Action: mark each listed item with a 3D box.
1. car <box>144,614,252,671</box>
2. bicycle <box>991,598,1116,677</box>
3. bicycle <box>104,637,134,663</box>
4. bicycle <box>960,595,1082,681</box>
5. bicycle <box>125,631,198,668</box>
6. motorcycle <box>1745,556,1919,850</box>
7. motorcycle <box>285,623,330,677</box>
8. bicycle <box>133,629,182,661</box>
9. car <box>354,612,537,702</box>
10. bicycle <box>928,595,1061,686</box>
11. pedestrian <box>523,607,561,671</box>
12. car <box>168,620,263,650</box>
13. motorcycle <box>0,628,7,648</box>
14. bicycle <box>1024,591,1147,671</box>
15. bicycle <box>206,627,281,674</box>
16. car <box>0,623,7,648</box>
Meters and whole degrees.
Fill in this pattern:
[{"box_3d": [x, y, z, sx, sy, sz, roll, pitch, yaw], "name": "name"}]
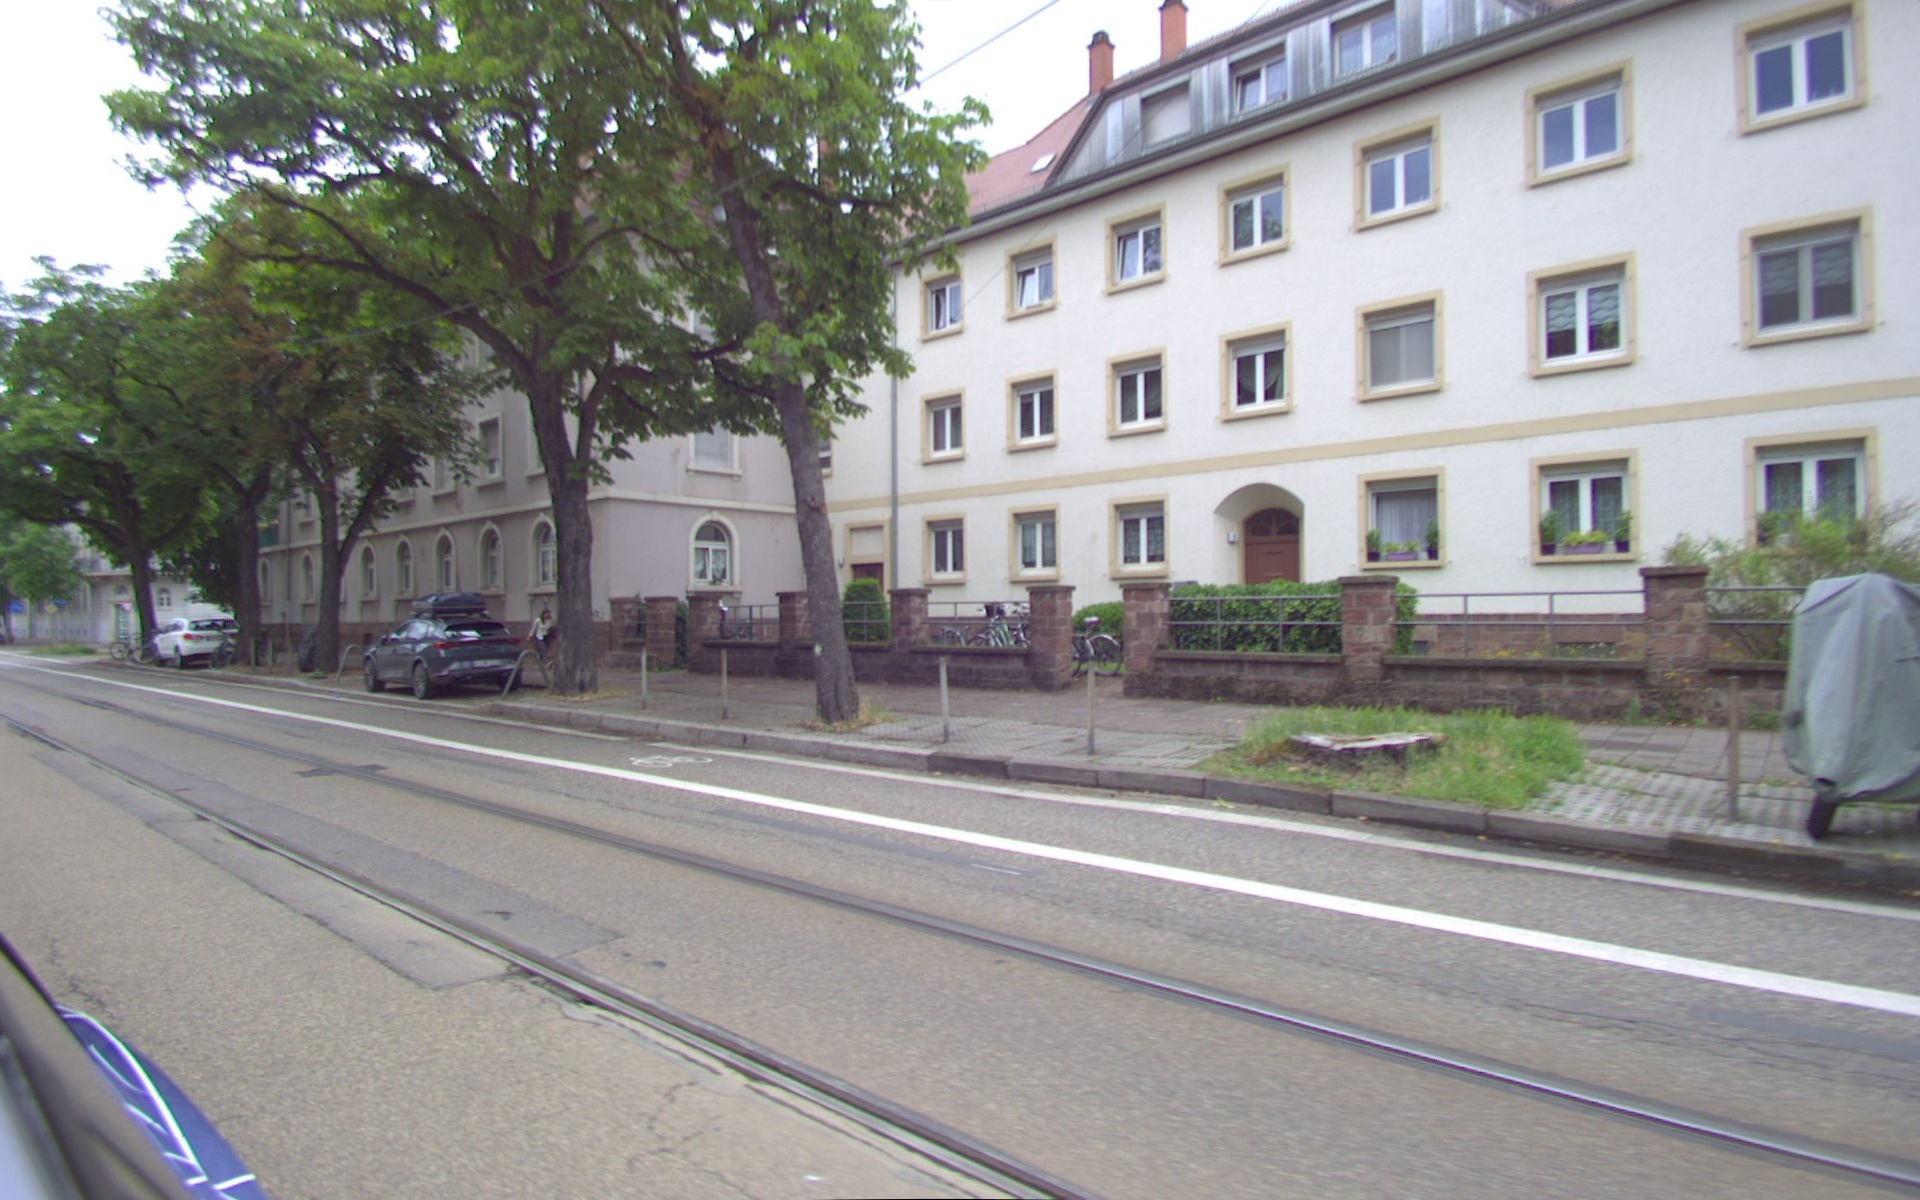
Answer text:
[{"box_3d": [-24.567, 1.347, 32.578, 4.222, 1.668, 1.878, -2, 0, 40], "name": "car"}, {"box_3d": [1.621, 0.638, 17.807, 2.139, 1.308, 0.740, -2, -1, 40], "name": "bicycle"}, {"box_3d": [-31.574, 1.873, 37.993, 1.393, 0.965, 0.479, -1, -1, 33], "name": "bicycle"}, {"box_3d": [1.009, 0.629, 17.238, 2.140, 1.392, 0.621, -2, -1, 41], "name": "bicycle"}, {"box_3d": [-27.851, 1.702, 35.328, 0.623, 1.129, 1.903, -2, 1, 40], "name": "bicycle"}, {"box_3d": [5.944, 0.511, 5.934, 2.234, 1.522, 0.929, -1, 1, -14], "name": "motorcycle"}, {"box_3d": [-16.990, 1.264, 26.321, 0.852, 1.298, 2.327, -1, 0, -36], "name": "motorcycle"}, {"box_3d": [-30.598, 1.731, 38.588, 1.925, 1.144, 0.671, -3, -2, 25], "name": "bicycle"}, {"box_3d": [-10.139, 1.047, 19.794, 4.236, 1.522, 1.758, -2, 0, 42], "name": "car"}, {"box_3d": [0.537, 0.637, 16.491, 2.140, 1.392, 0.784, -2, -1, 41], "name": "bicycle"}, {"box_3d": [-9.922, 0.920, 24.035, 0.722, 1.478, 0.559, -2, -1, 41], "name": "pedestrian"}, {"box_3d": [-45.942, 2.127, 62.569, 4.438, 1.675, 1.945, -1, -1, -24], "name": "car"}, {"box_3d": [-63.021, 2.510, 66.192, 2.137, 1.267, 0.535, -1, -1, 35], "name": "motorcycle"}, {"box_3d": [2.257, 0.553, 18.422, 2.140, 1.392, 0.784, -2, -1, 41], "name": "bicycle"}, {"box_3d": [-20.778, 1.458, 29.387, 1.720, 1.201, 0.654, -3, -4, -35], "name": "bicycle"}, {"box_3d": [-68.350, 2.539, 70.969, 4.292, 1.673, 1.818, -2, 2, 42], "name": "car"}]
